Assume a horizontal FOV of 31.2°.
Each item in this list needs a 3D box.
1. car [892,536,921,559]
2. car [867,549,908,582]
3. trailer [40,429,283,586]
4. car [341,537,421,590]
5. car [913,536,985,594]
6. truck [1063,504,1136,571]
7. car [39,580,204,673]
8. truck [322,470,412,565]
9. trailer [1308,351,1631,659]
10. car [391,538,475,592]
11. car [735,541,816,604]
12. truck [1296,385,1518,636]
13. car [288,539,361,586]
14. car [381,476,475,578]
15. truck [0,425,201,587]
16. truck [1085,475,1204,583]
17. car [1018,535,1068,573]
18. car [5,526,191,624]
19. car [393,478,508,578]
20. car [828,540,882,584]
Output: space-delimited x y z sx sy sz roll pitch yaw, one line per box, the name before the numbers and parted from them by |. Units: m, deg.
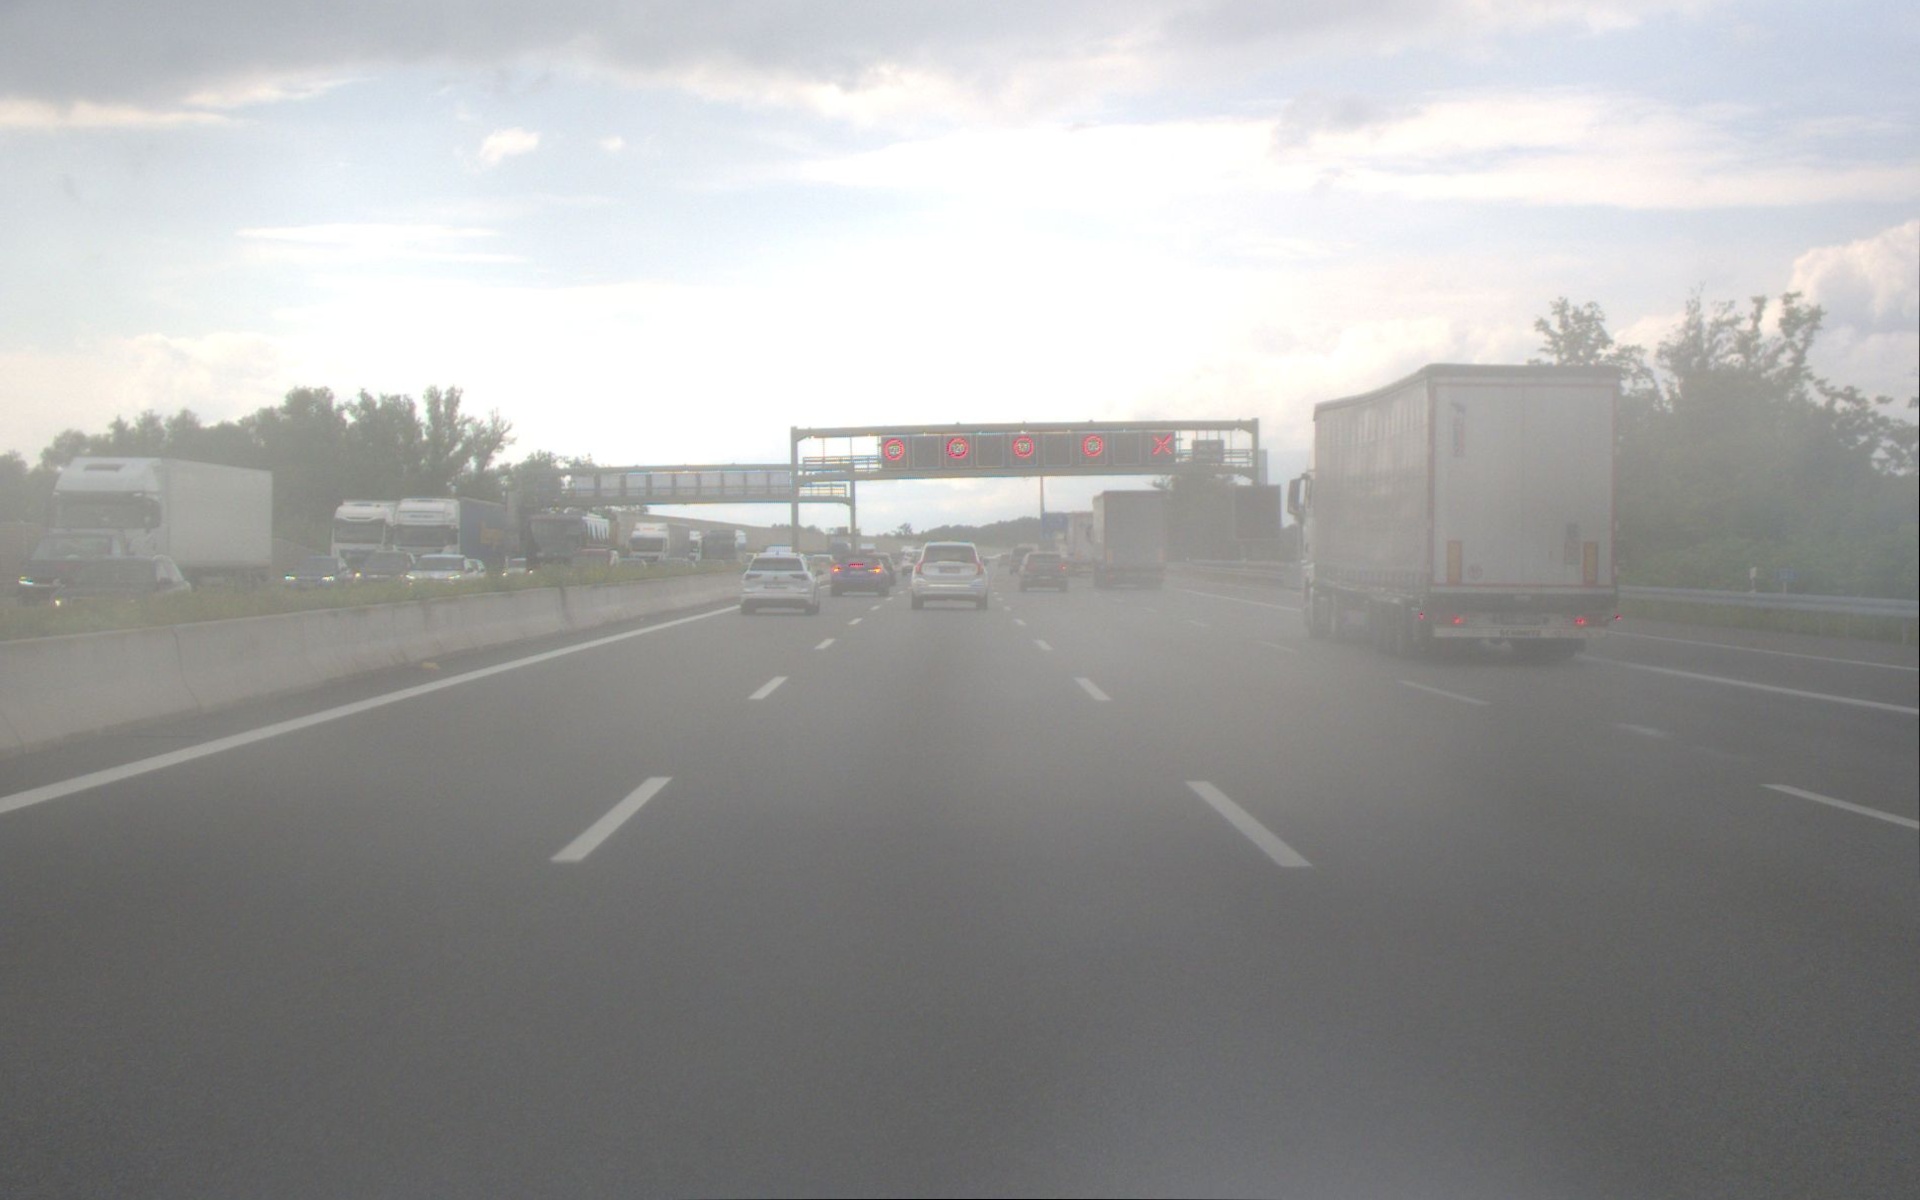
car | -3.457 -3.387 222.242 1.772 1.436 4.055 1 1 0
car | -3.282 -1.574 154.325 1.772 1.436 4.056 0 1 -2
trailer | -22.455 -2.547 97.693 3.660 4.094 13.399 1 1 0
car | -17.999 -1.146 107.040 1.787 1.557 4.565 1 1 -1
car | -0.307 -0.918 88.958 1.772 1.436 4.056 0 1 -1
truck | 9.027 -4.066 224.320 4.244 4.162 11.989 1 1 0
car | -14.284 0.421 58.779 1.787 1.449 4.565 1 1 -1
truck | -26.668 -3.687 154.753 2.900 4.102 6.623 1 1 -1
trailer | 7.402 -1.382 52.185 2.961 4.006 14.118 1 1 1
car | -14.993 -1.009 97.933 1.787 1.449 4.565 1 1 -1
car | -4.334 -0.667 81.231 1.772 1.436 3.874 0 1 -1
truck | 7.496 -1.497 58.461 2.961 4.006 6.589 1 1 1
car | -22.372 -1.318 121.114 1.787 1.586 4.386 1 1 -1
car | -22.106 -3.021 143.194 2.982 4.135 6.043 1 1 -1
truck | -22.507 -2.428 90.189 3.660 4.034 6.524 1 1 0
truck | 7.669 -2.966 144.988 4.180 4.273 12.613 1 1 0
car | 3.175 -1.785 132.398 1.836 1.436 4.055 1 1 0
car | -18.261 -0.549 73.187 2.280 1.961 6.086 1 1 1
car | -22.143 -3.097 150.290 2.982 4.109 14.396 1 1 -1
car | -3.480 -1.278 114.549 1.772 1.436 4.056 0 1 -1
